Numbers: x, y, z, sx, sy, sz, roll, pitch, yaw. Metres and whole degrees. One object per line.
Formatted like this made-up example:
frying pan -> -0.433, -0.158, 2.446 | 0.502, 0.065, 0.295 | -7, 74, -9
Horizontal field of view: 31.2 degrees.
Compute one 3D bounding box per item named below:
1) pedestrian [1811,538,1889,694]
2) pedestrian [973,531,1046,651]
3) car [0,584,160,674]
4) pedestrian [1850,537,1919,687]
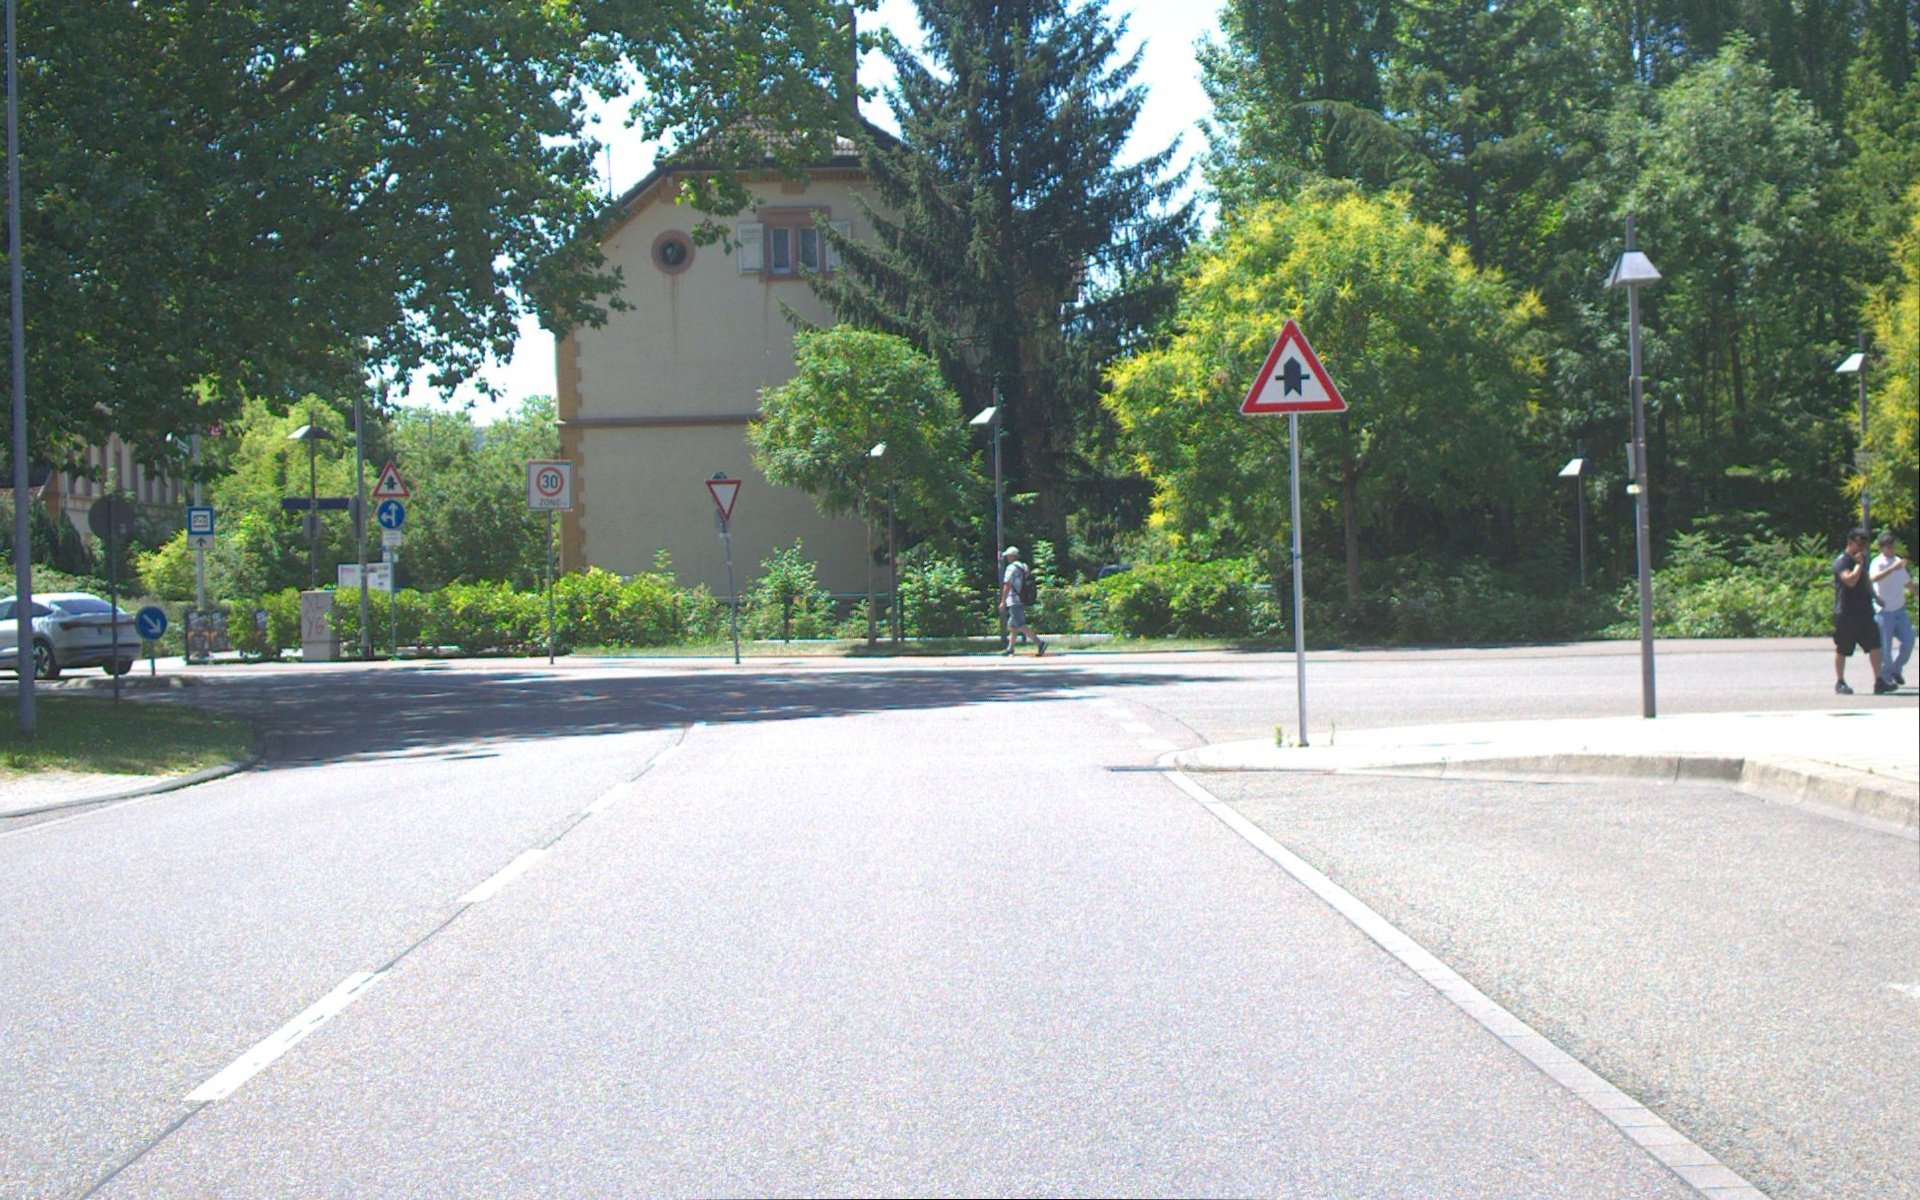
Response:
pedestrian -> 9.559, 0.181, 36.914 | 0.636, 1.644, 0.749 | -1, -2, 27
pedestrian -> 0.811, -0.148, 56.455 | 0.804, 1.959, 0.856 | -1, 0, -40
car -> -17.810, 0.571, 66.734 | 4.774, 1.621, 1.984 | -1, 1, 41
pedestrian -> 10.306, 0.142, 38.056 | 0.721, 1.644, 0.749 | -1, -2, 27
